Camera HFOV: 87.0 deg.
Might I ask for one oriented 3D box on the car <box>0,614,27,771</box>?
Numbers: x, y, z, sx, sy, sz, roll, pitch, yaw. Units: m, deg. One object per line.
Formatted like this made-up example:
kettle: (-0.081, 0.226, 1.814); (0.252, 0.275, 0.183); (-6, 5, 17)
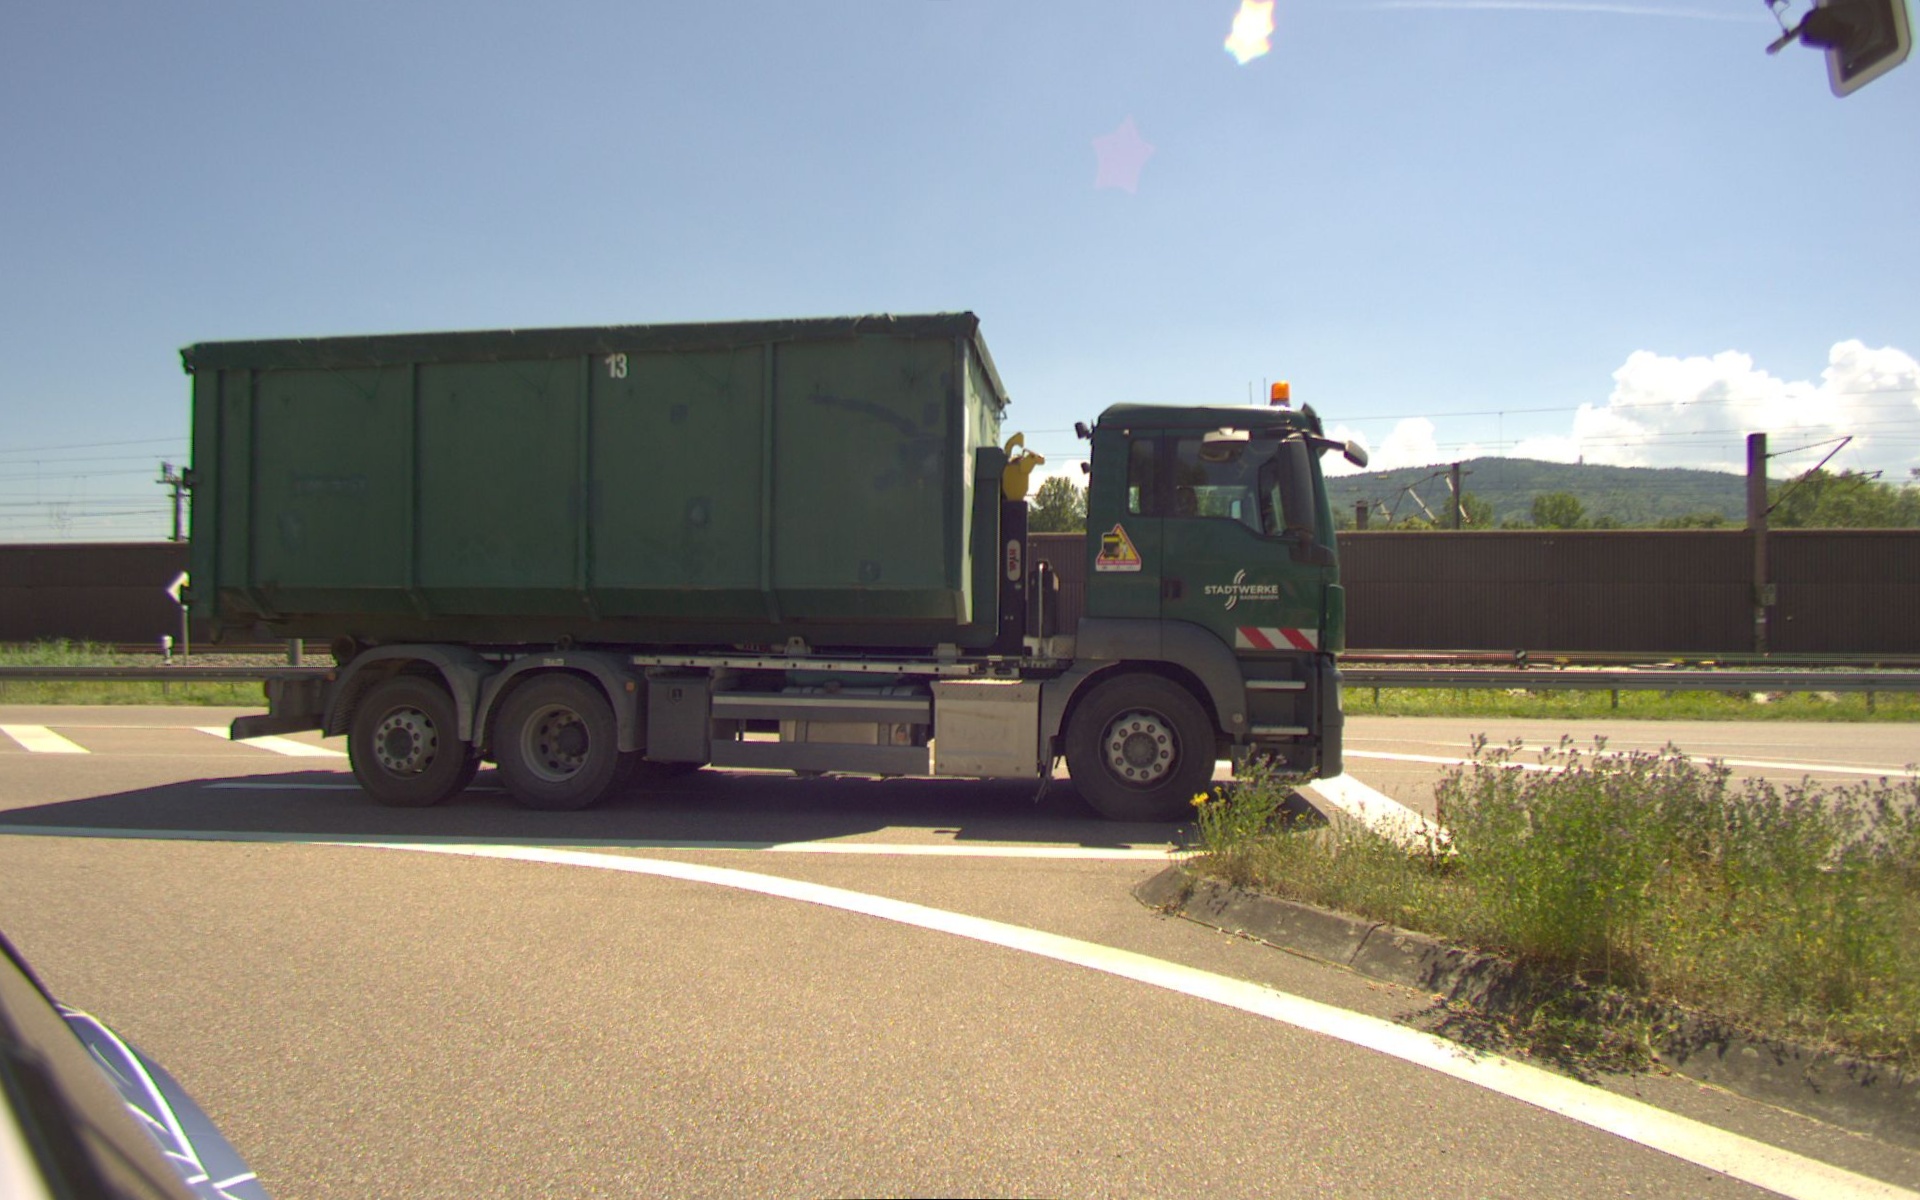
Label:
car: (-12.170, 0.956, 10.202); (4.177, 1.635, 1.846); (0, -2, 9)

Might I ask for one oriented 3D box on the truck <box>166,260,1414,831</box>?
truck: (-1.542, -0.277, 8.707); (9.466, 3.766, 2.591); (-1, -2, 9)
